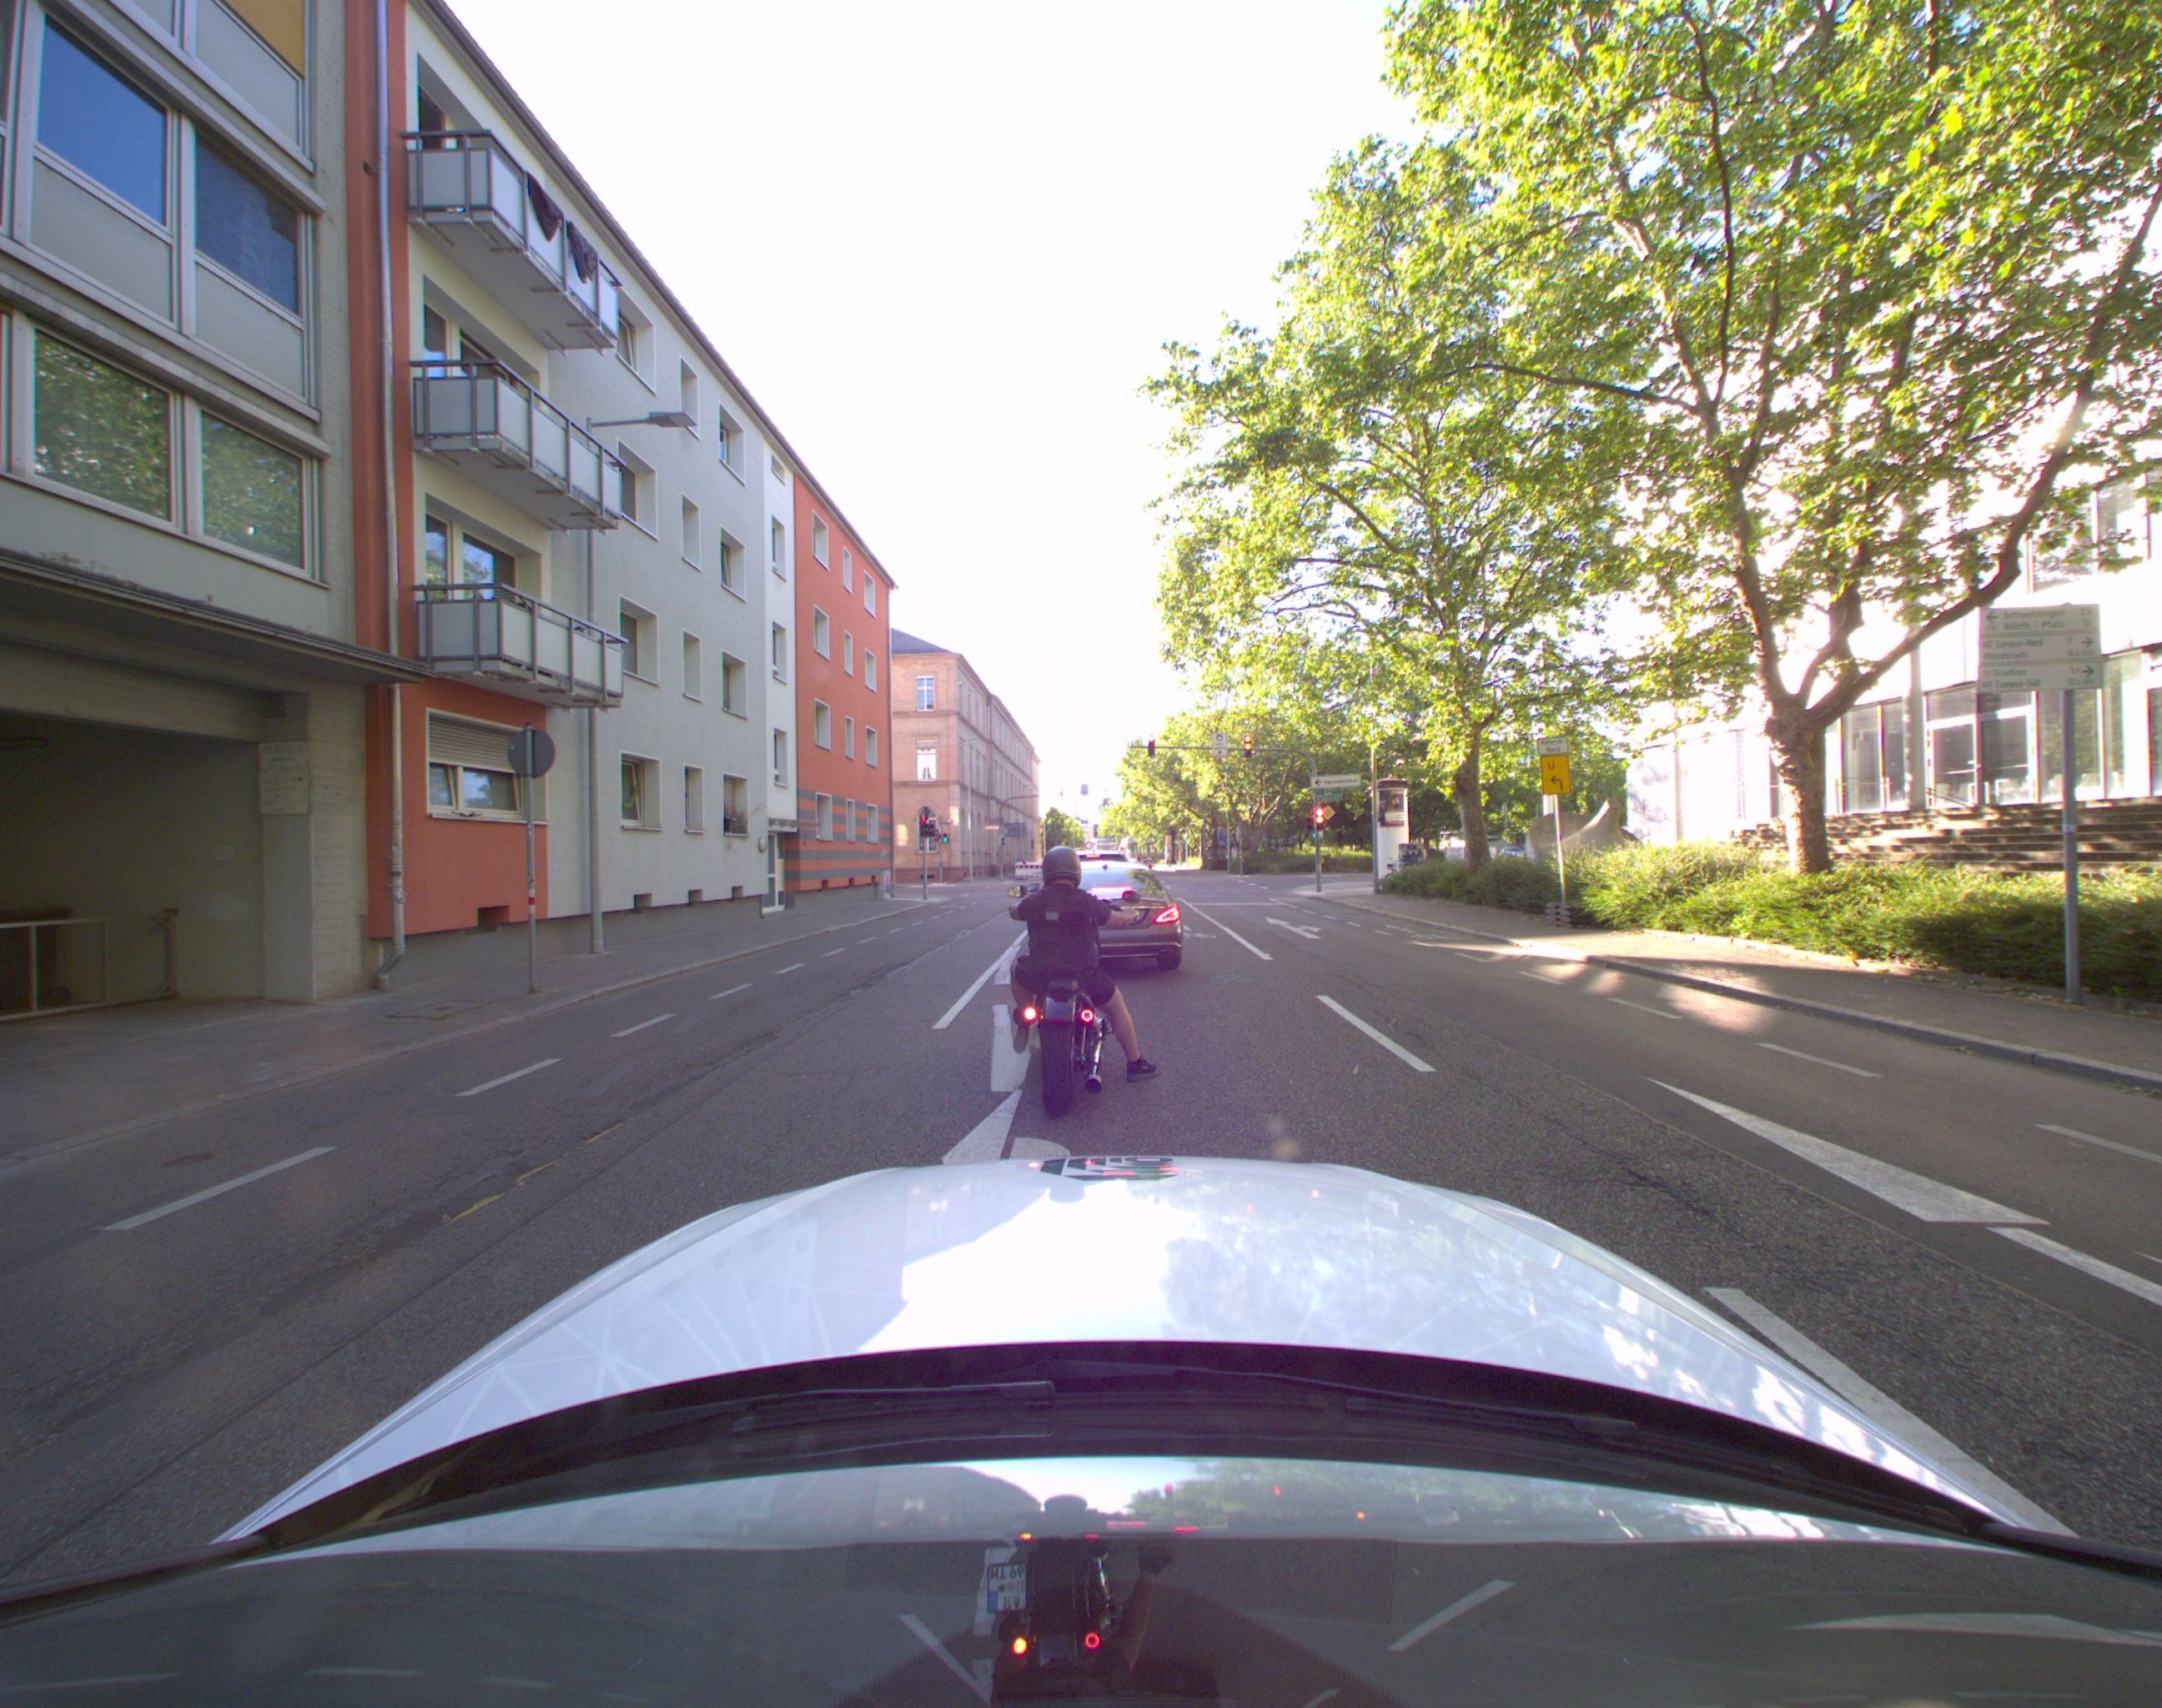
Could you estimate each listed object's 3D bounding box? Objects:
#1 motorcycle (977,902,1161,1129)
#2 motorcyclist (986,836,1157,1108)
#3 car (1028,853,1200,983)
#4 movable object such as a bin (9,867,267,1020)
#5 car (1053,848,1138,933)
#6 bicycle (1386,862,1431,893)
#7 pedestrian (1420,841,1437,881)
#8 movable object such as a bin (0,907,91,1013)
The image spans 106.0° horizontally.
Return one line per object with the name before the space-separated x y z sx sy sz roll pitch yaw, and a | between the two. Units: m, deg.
motorcycle | -0.026 0.960 5.701 0.986 1.078 2.453 -1 0 2
motorcyclist | -0.035 0.701 5.547 0.986 1.597 1.404 -1 0 2
car | 0.258 0.744 11.739 1.943 1.473 4.355 -1 0 -5
movable object such as a bin | -9.624 0.868 8.386 1.322 1.430 1.134 -1 0 3
car | 0.322 0.707 17.909 1.606 1.607 4.329 -1 0 1
bicycle | 11.038 0.795 27.490 1.346 1.023 0.363 -1 0 2
pedestrian | 16.413 0.328 38.456 0.549 1.849 0.594 -1 0 3
movable object such as a bin | -11.315 1.114 8.702 0.593 1.041 0.703 0 -1 1
